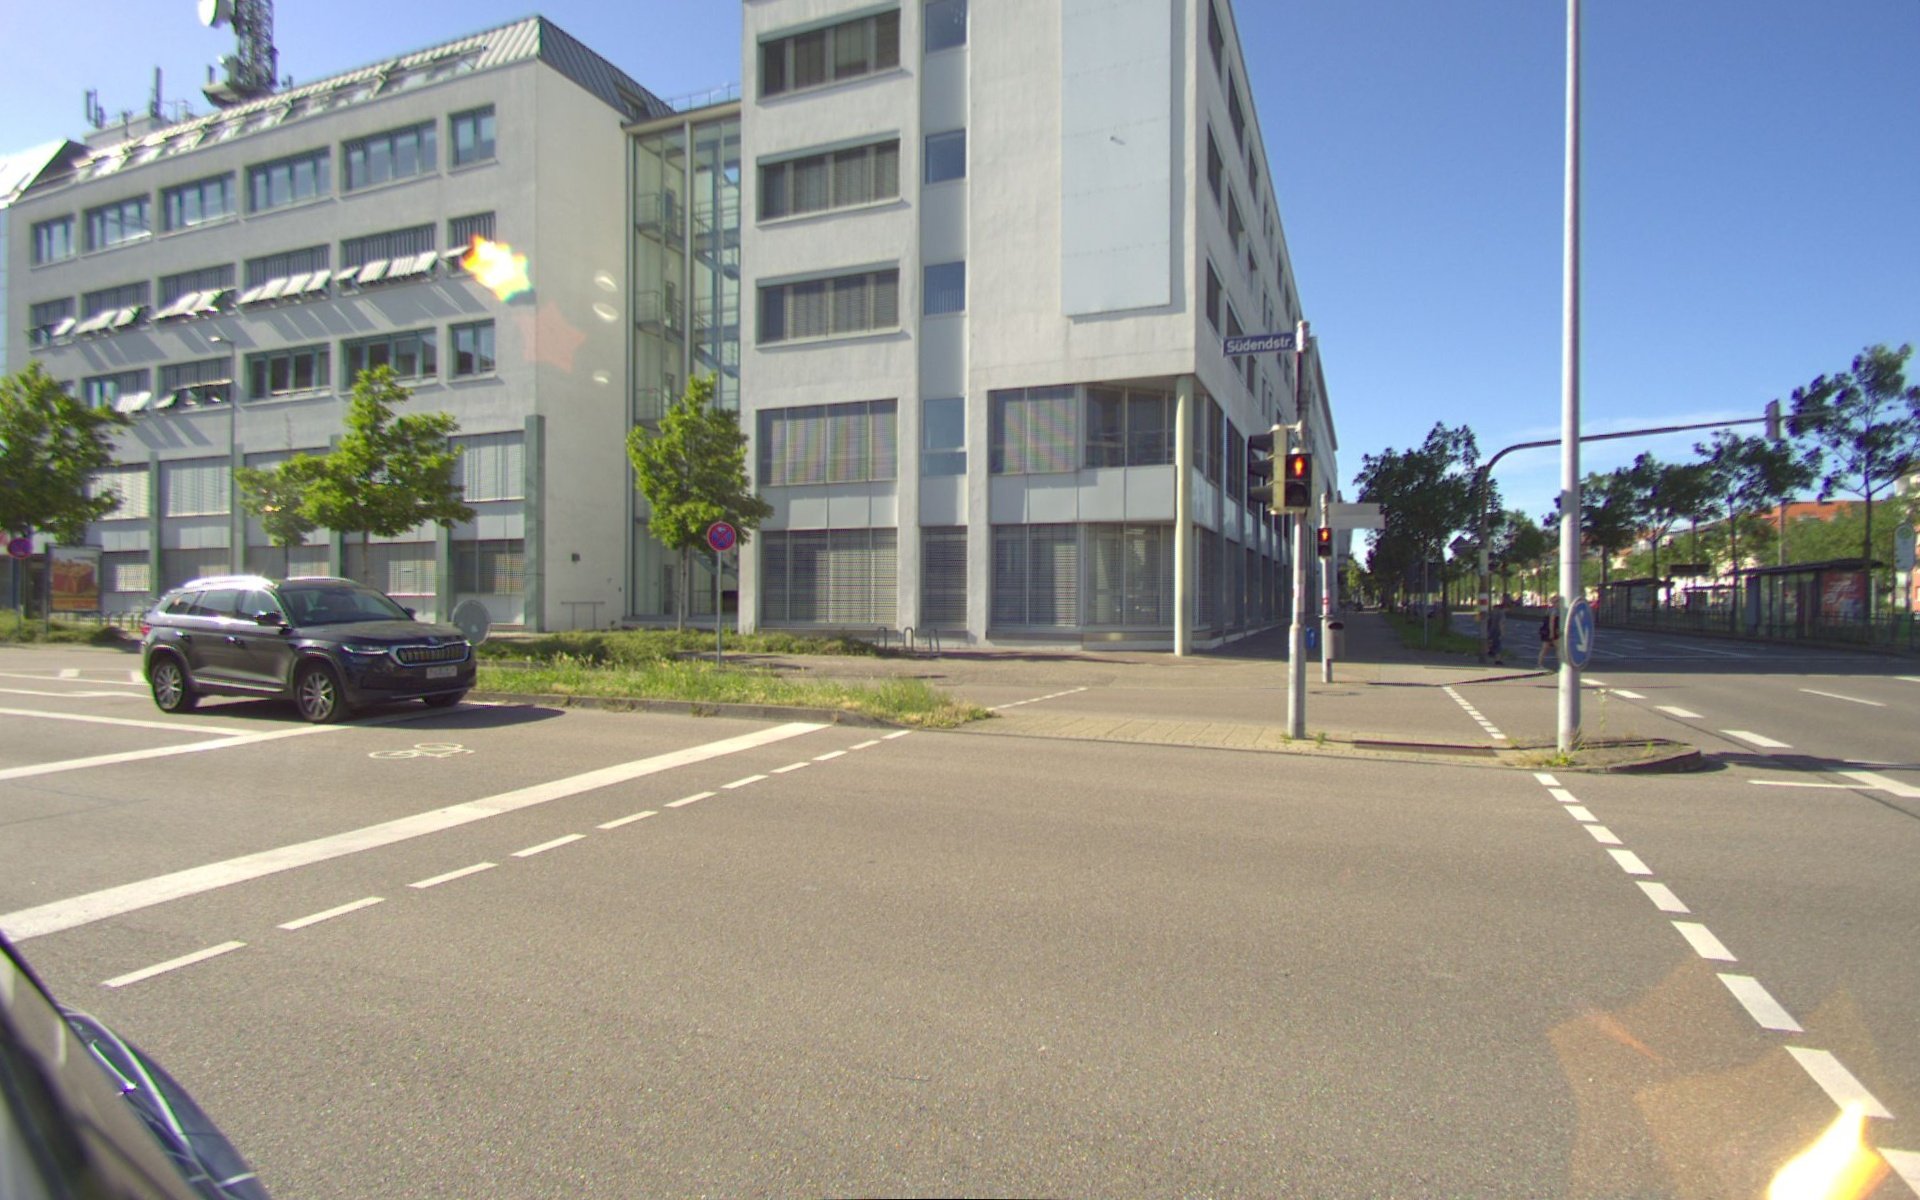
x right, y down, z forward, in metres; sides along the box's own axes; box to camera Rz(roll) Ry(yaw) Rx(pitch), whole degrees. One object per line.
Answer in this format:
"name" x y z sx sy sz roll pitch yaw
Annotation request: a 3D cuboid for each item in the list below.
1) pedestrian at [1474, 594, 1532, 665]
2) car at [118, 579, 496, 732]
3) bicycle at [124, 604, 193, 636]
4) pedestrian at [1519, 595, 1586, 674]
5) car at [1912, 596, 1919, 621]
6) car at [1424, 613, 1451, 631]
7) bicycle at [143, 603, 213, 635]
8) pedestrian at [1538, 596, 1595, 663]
"pedestrian" 13.609 0.730 25.390 1.145 1.739 0.808 0 -1 18
"car" -8.197 0.584 12.708 4.448 1.640 1.747 0 2 22
"bicycle" -27.712 0.692 35.018 0.553 1.077 1.754 0 -1 30
"pedestrian" 13.348 0.761 22.823 1.145 1.739 0.808 0 -1 18
"car" 70.173 0.613 72.102 1.985 1.863 3.973 0 -1 20
"car" 41.408 1.906 87.746 1.769 1.531 3.972 0 -1 21
"bicycle" -26.937 0.657 34.880 0.619 1.077 1.776 0 -1 30
"pedestrian" 16.148 0.771 26.967 1.145 1.739 0.808 0 -1 18
